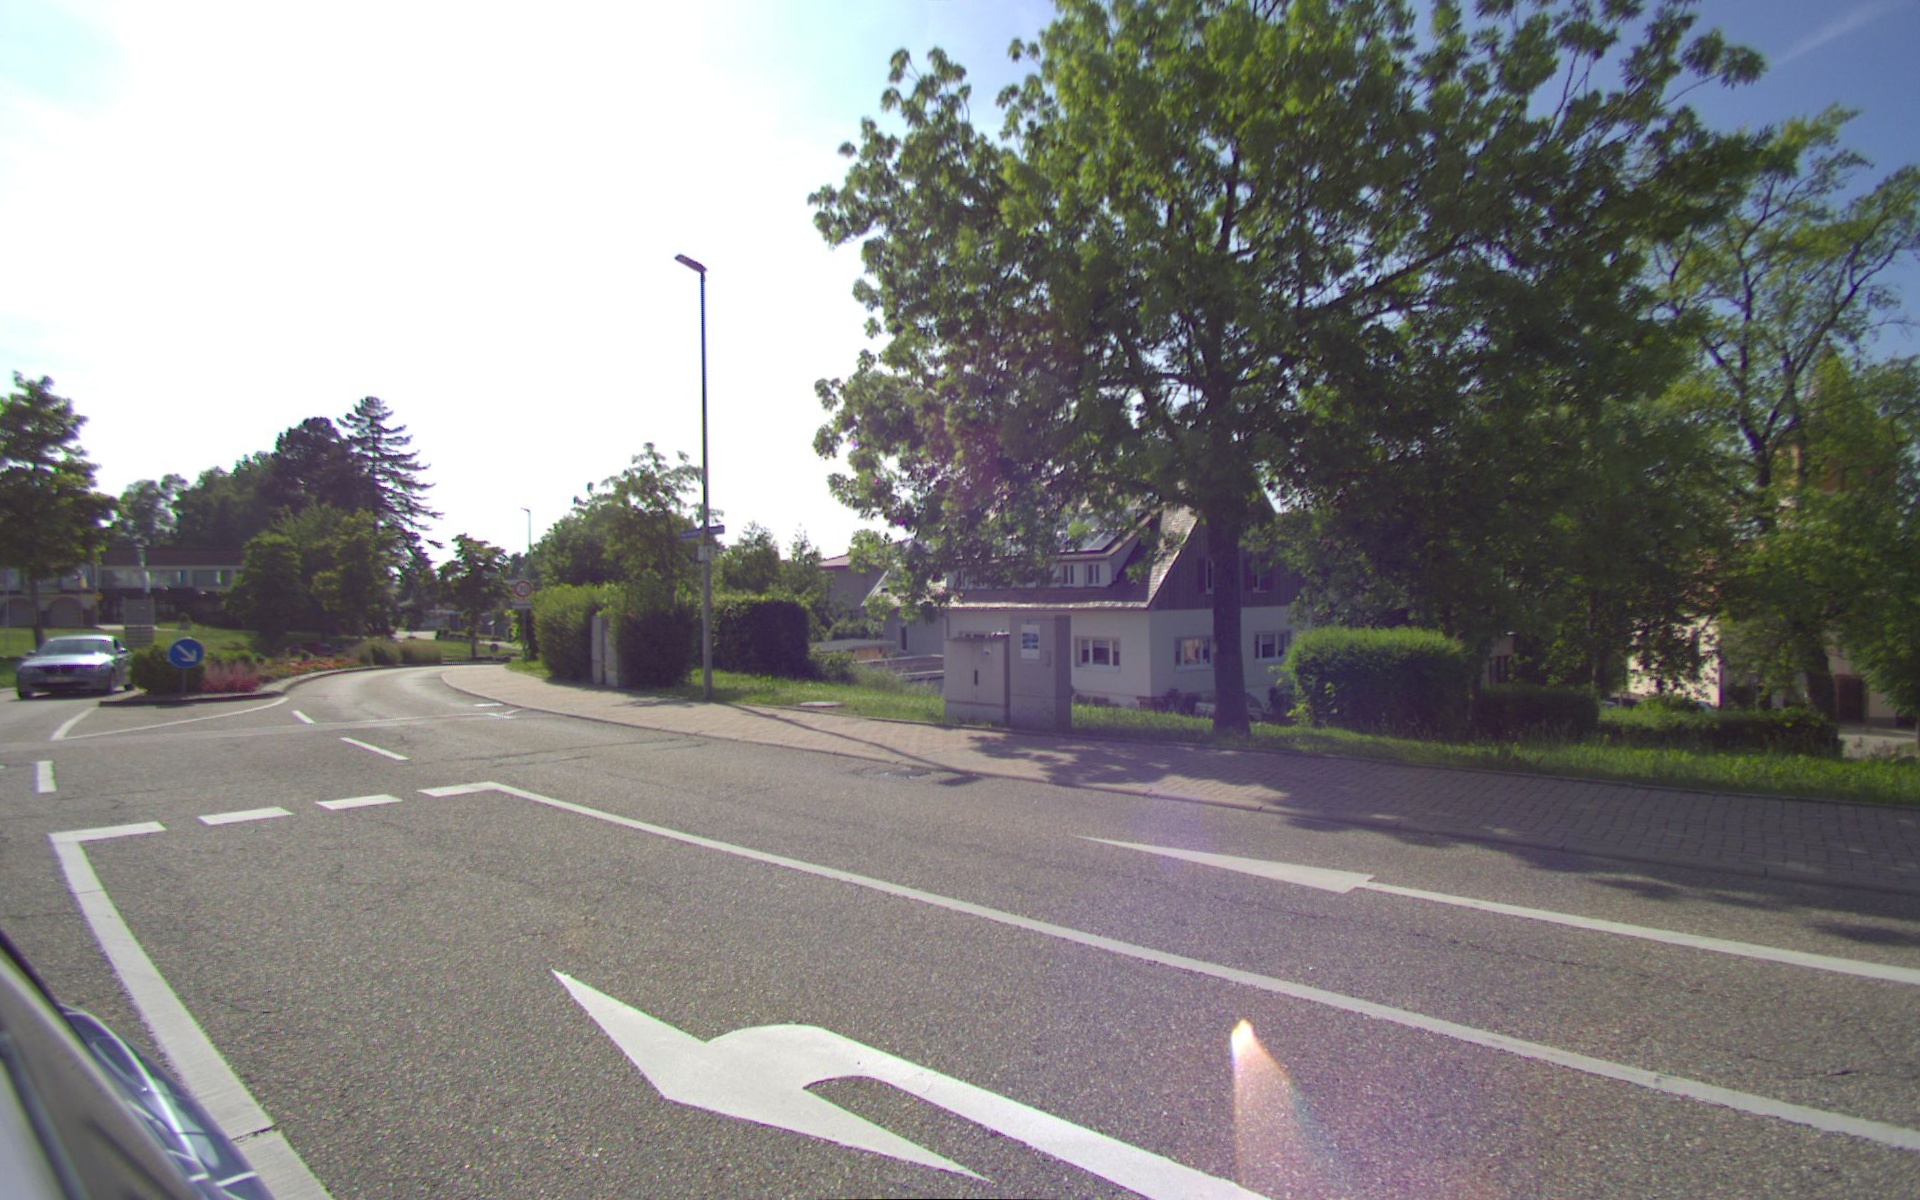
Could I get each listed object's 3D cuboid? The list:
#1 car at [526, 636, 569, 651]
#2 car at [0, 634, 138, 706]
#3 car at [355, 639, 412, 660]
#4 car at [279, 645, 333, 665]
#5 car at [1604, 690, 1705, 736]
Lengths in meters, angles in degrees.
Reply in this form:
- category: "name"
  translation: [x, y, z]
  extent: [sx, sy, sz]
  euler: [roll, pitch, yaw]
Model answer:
- category: "car"
  translation: [-48.440, 5.090, 118.894]
  extent: [4.304, 1.527, 1.795]
  euler: [5, -4, -44]
- category: "car"
  translation: [-21.198, 1.612, 24.115]
  extent: [1.872, 1.519, 4.012]
  euler: [4, -3, -31]
- category: "car"
  translation: [-48.680, 4.195, 85.454]
  extent: [3.967, 1.630, 1.988]
  euler: [1, -3, 18]
- category: "car"
  translation: [-50.694, 4.257, 78.468]
  extent: [3.280, 1.415, 1.707]
  euler: [2, -2, 13]
- category: "car"
  translation: [35.181, 5.678, 51.304]
  extent: [3.999, 2.029, 1.972]
  euler: [-2, -4, 42]
